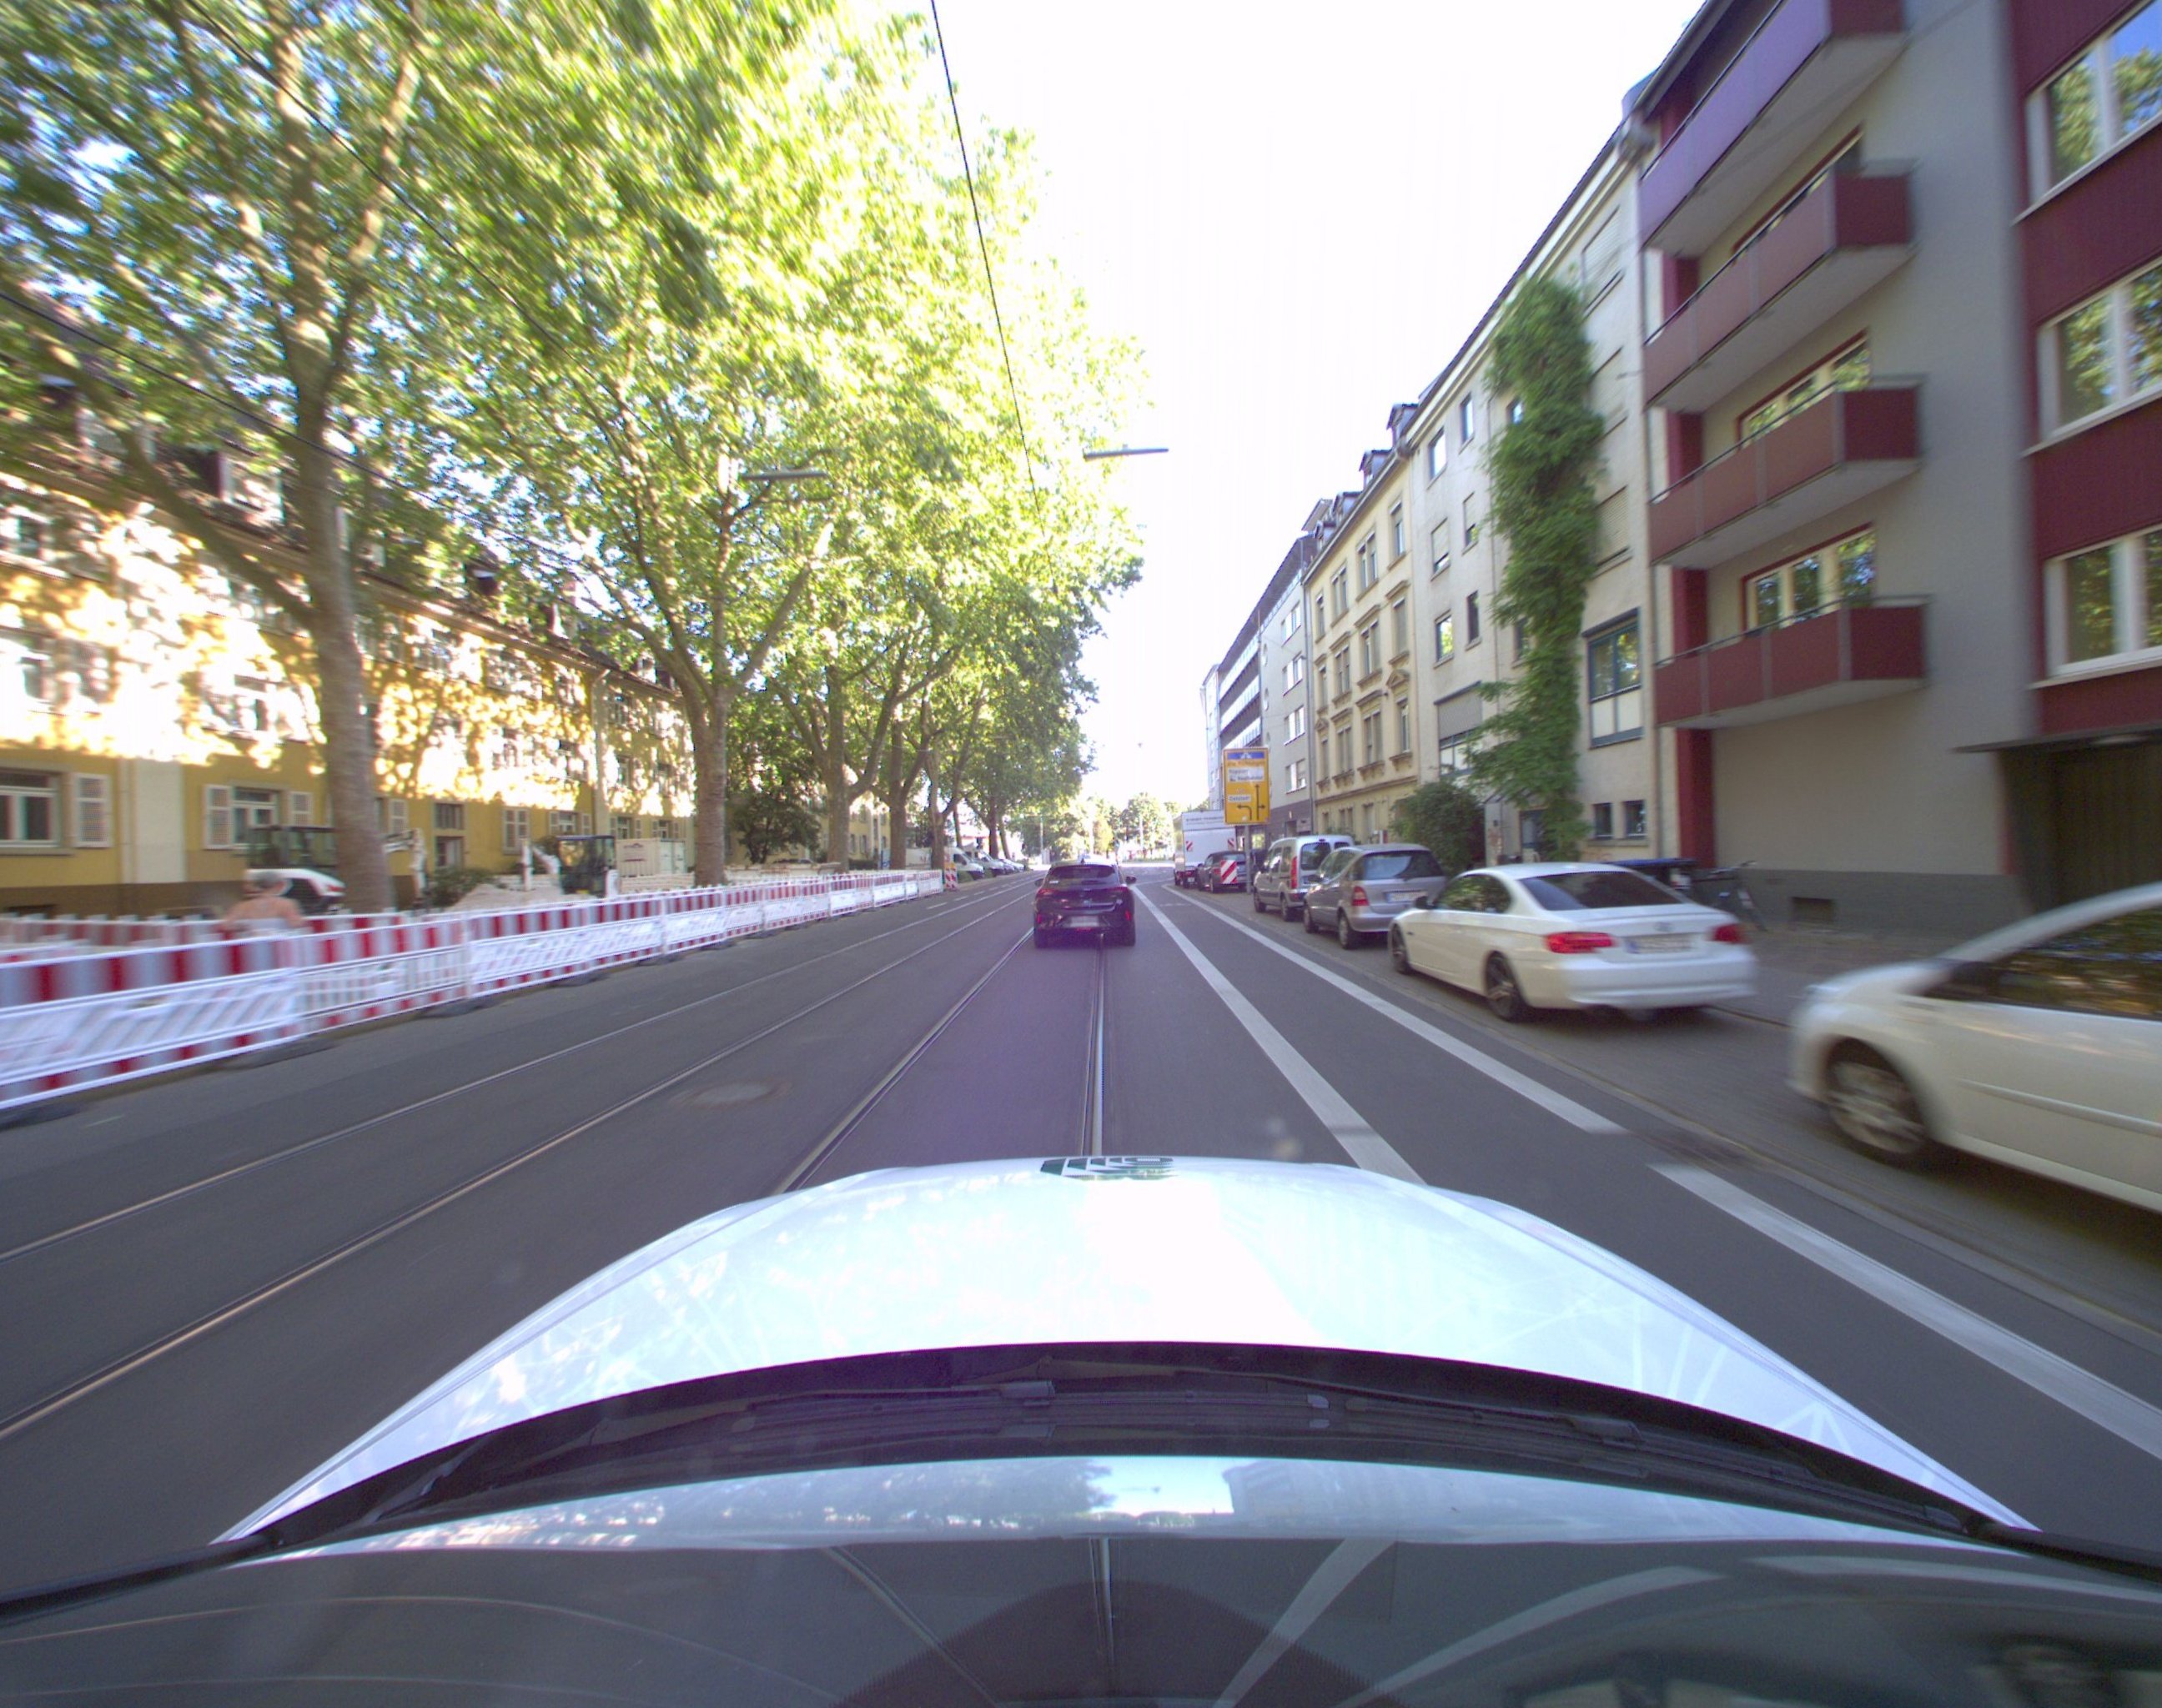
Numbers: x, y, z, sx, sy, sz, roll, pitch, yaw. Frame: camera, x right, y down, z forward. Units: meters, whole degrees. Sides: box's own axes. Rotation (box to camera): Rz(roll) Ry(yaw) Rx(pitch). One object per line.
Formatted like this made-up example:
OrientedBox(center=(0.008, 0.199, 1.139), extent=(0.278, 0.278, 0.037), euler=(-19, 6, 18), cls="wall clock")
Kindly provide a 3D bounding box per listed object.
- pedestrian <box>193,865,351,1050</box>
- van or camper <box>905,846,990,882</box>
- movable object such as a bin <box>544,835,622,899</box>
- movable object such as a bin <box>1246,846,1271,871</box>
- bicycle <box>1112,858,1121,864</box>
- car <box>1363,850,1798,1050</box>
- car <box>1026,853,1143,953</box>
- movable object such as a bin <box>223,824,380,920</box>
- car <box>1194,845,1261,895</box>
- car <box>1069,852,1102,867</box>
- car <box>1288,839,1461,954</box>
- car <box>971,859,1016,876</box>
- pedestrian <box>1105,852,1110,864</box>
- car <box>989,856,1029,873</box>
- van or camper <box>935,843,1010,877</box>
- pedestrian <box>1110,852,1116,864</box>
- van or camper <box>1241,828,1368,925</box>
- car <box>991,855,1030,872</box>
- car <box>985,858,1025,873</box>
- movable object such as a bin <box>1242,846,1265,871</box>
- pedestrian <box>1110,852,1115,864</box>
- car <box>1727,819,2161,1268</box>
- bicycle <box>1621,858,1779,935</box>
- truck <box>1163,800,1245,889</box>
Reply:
OrientedBox(center=(-7.721, 0.947, 7.808), extent=(0.714, 1.669, 0.779), euler=(-1, -1, 2), cls="pedestrian")
OrientedBox(center=(-9.315, 0.695, 57.137), extent=(5.475, 2.379, 2.272), euler=(-1, 0, 5), cls="van or camper")
OrientedBox(center=(-13.397, 0.331, 21.977), extent=(1.093, 1.645, 1.560), euler=(-1, 0, 2), cls="movable object such as a bin")
OrientedBox(center=(10.969, 0.269, 50.323), extent=(1.182, 1.484, 1.596), euler=(-4, 0, 2), cls="movable object such as a bin")
OrientedBox(center=(5.574, 1.074, 126.243), extent=(0.782, 0.992, 2.254), euler=(-1, 0, 18), cls="bicycle")
OrientedBox(center=(4.575, 0.713, 8.495), extent=(1.653, 1.399, 4.741), euler=(-4, 0, 1), cls="car")
OrientedBox(center=(0.107, 0.751, 14.602), extent=(1.775, 1.496, 4.001), euler=(-1, 0, 1), cls="car")
OrientedBox(center=(-16.228, 0.351, 17.052), extent=(1.328, 1.868, 2.008), euler=(-1, 0, 2), cls="movable object such as a bin")
OrientedBox(center=(5.255, 0.544, 29.723), extent=(1.724, 1.557, 4.154), euler=(-4, 0, 2), cls="car")
OrientedBox(center=(0.557, 0.781, 112.704), extent=(2.010, 1.695, 4.686), euler=(-4, 0, -37), cls="car")
OrientedBox(center=(4.700, 0.607, 13.587), extent=(1.653, 1.580, 3.591), euler=(-3, 0, 2), cls="car")
OrientedBox(center=(-8.255, 1.276, 76.946), extent=(3.971, 1.515, 1.651), euler=(-1, 0, 2), cls="car")
OrientedBox(center=(4.339, 0.682, 131.828), extent=(0.610, 1.853, 0.587), euler=(-1, -1, 37), cls="pedestrian")
OrientedBox(center=(-7.785, 1.131, 88.851), extent=(4.157, 1.671, 1.963), euler=(-2, 0, -2), cls="car")
OrientedBox(center=(-8.806, 0.451, 66.482), extent=(5.702, 2.644, 2.270), euler=(-1, 0, 2), cls="van or camper")
OrientedBox(center=(5.164, 0.624, 132.117), extent=(0.651, 1.932, 0.613), euler=(-1, -1, 33), cls="pedestrian")
OrientedBox(center=(4.921, 0.445, 18.507), extent=(1.663, 1.882, 4.210), euler=(-3, 0, 0), cls="van or camper")
OrientedBox(center=(-7.835, 1.083, 91.219), extent=(4.157, 1.671, 1.963), euler=(-2, 0, -2), cls="car")
OrientedBox(center=(-8.055, 1.210, 86.040), extent=(3.971, 1.515, 1.651), euler=(-1, 0, 2), cls="car")
OrientedBox(center=(11.041, 0.277, 52.221), extent=(1.106, 1.484, 1.388), euler=(-4, -1, 2), cls="movable object such as a bin")
OrientedBox(center=(5.185, 0.682, 134.551), extent=(0.585, 1.853, 0.613), euler=(-1, -1, -24), cls="pedestrian")
OrientedBox(center=(4.533, 0.637, 2.810), extent=(1.585, 1.526, 3.837), euler=(-4, 0, 2), cls="car")
OrientedBox(center=(9.338, 0.641, 12.323), extent=(1.884, 1.029, 0.477), euler=(-4, 0, 6), cls="bicycle")
OrientedBox(center=(5.217, -0.374, 35.775), extent=(2.528, 3.338, 7.199), euler=(-4, 0, 2), cls="truck")
